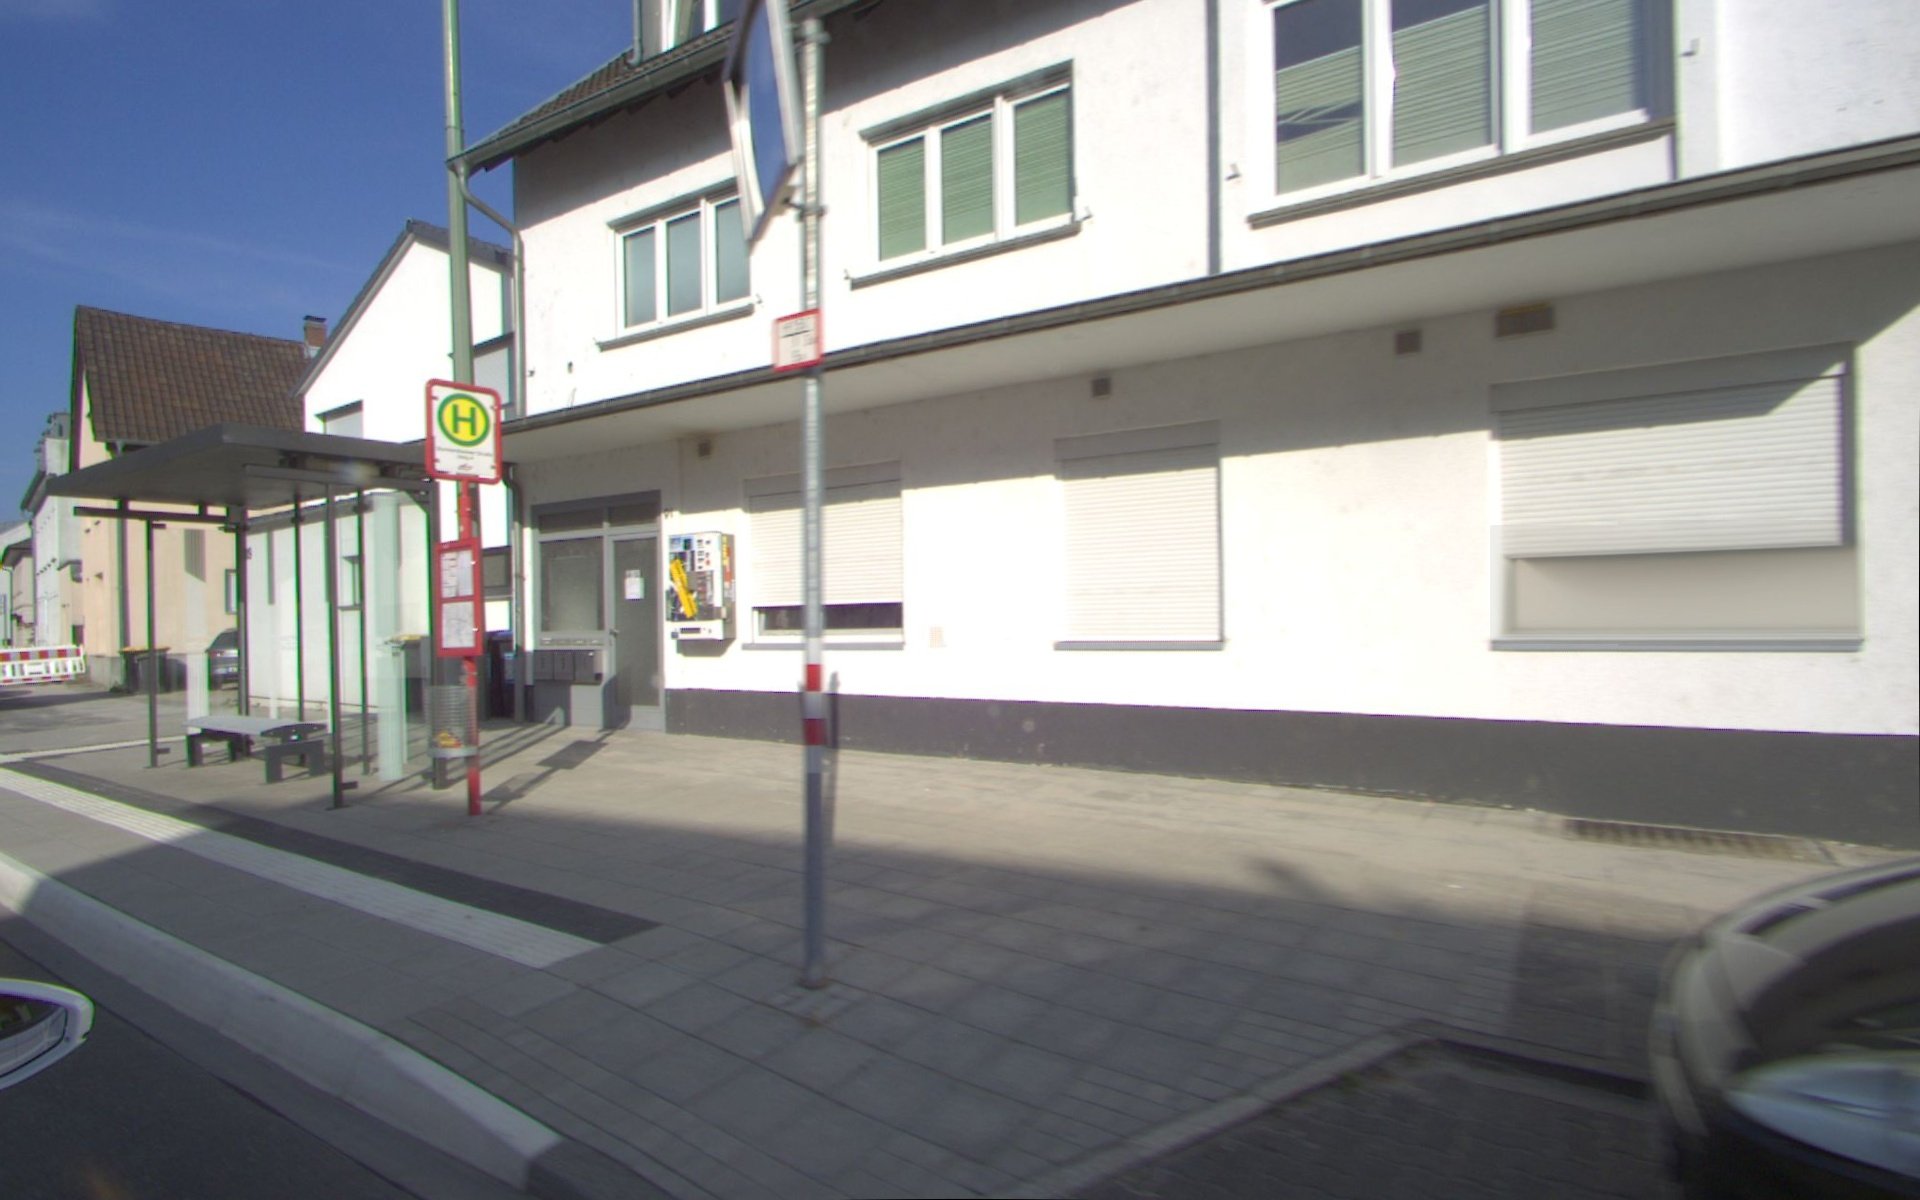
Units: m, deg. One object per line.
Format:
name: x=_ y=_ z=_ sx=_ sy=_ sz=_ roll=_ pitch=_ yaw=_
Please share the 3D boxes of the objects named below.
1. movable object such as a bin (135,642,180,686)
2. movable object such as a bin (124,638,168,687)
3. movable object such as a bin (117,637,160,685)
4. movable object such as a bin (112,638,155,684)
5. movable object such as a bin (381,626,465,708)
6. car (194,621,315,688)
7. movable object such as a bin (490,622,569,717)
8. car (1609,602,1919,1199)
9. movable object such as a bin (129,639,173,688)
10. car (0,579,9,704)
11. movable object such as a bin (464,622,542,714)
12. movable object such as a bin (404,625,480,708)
movable object such as a bin: x=-18.391 y=1.466 z=22.951 sx=0.547 sy=0.971 sz=0.724 roll=-2 pitch=-1 yaw=41
movable object such as a bin: x=-19.372 y=1.476 z=23.826 sx=0.547 sy=1.146 sz=0.724 roll=-2 pitch=-1 yaw=41
movable object such as a bin: x=-19.871 y=1.466 z=24.235 sx=0.547 sy=1.107 sz=0.724 roll=-2 pitch=-1 yaw=41
movable object such as a bin: x=-20.326 y=1.497 z=24.633 sx=0.618 sy=1.107 sz=0.724 roll=-2 pitch=-1 yaw=41
movable object such as a bin: x=-7.689 y=0.937 z=14.348 sx=0.758 sy=1.107 sz=0.809 roll=-1 pitch=0 yaw=37
car: x=-17.041 y=1.257 z=24.371 sx=1.635 sy=1.426 sz=3.965 roll=-2 pitch=0 yaw=-24
movable object such as a bin: x=-5.271 y=0.831 z=12.276 sx=0.552 sy=1.107 sz=0.693 roll=-1 pitch=0 yaw=37
car: x=3.047 y=0.708 z=1.112 sx=3.865 sy=1.440 sz=1.604 roll=-1 pitch=0 yaw=33
movable object such as a bin: x=-18.921 y=1.480 z=23.417 sx=0.547 sy=1.107 sz=0.724 roll=-2 pitch=-1 yaw=41
car: x=-20.560 y=0.860 z=19.745 sx=4.941 sy=2.358 sz=2.163 roll=-2 pitch=0 yaw=42
movable object such as a bin: x=-5.776 y=0.847 z=12.676 sx=0.551 sy=1.107 sz=0.694 roll=-1 pitch=0 yaw=35
movable object such as a bin: x=-7.214 y=0.912 z=13.958 sx=0.437 sy=1.107 sz=0.809 roll=-1 pitch=0 yaw=37
